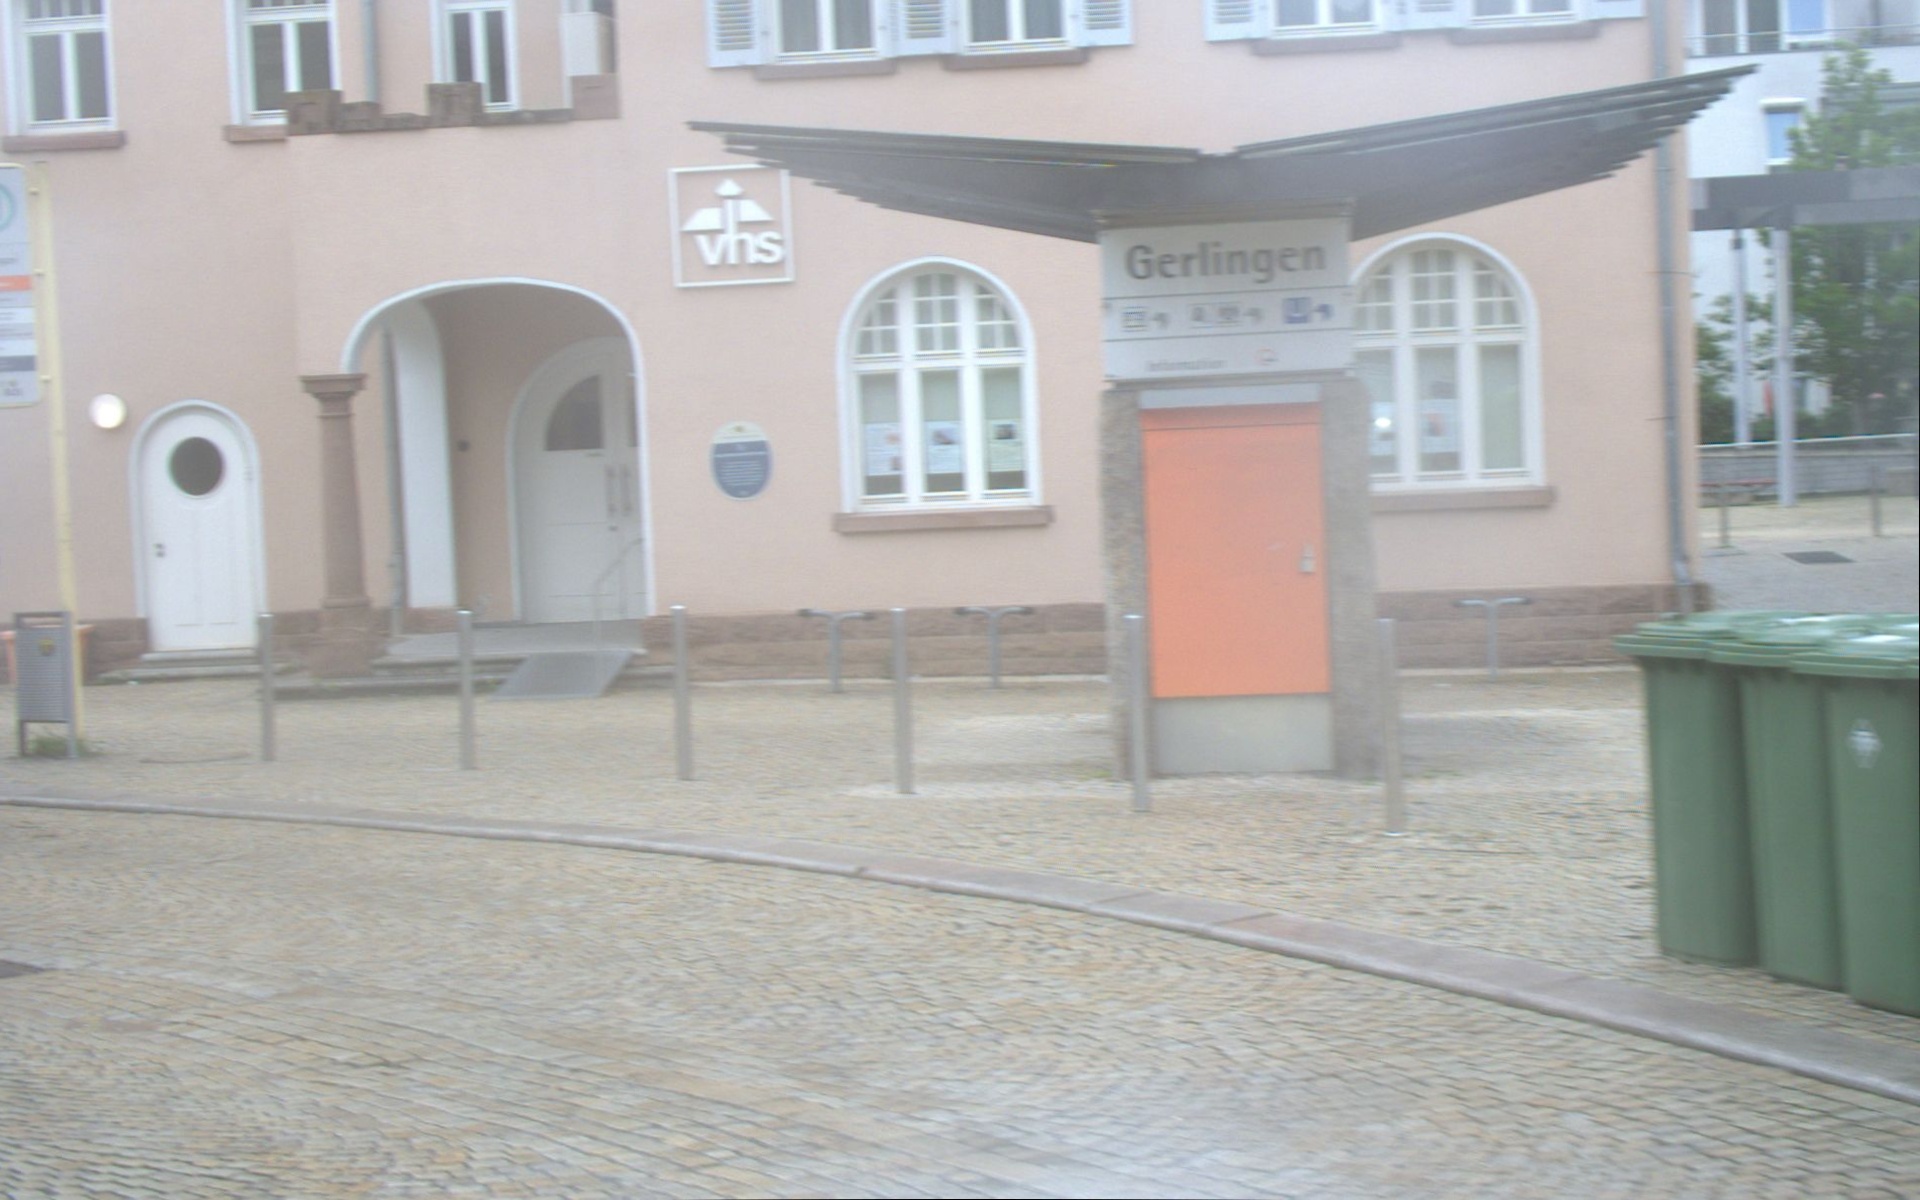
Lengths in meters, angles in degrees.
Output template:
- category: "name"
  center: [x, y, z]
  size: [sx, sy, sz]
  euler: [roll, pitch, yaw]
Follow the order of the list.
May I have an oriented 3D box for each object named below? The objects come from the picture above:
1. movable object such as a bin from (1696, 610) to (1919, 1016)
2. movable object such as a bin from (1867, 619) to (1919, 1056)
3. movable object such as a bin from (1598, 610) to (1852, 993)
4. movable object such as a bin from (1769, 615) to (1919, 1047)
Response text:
- category: "movable object such as a bin"
  center: [2.523, 0.605, 10.050]
  size: [0.536, 1.122, 0.540]
  euler: [-2, 1, -9]
- category: "movable object such as a bin"
  center: [2.750, 0.612, 8.925]
  size: [0.559, 1.122, 0.551]
  euler: [-2, 1, -9]
- category: "movable object such as a bin"
  center: [2.370, 0.607, 10.676]
  size: [0.536, 1.122, 0.540]
  euler: [-2, 1, -19]
- category: "movable object such as a bin"
  center: [2.616, 0.615, 9.466]
  size: [0.559, 1.122, 0.551]
  euler: [-2, 1, -9]
